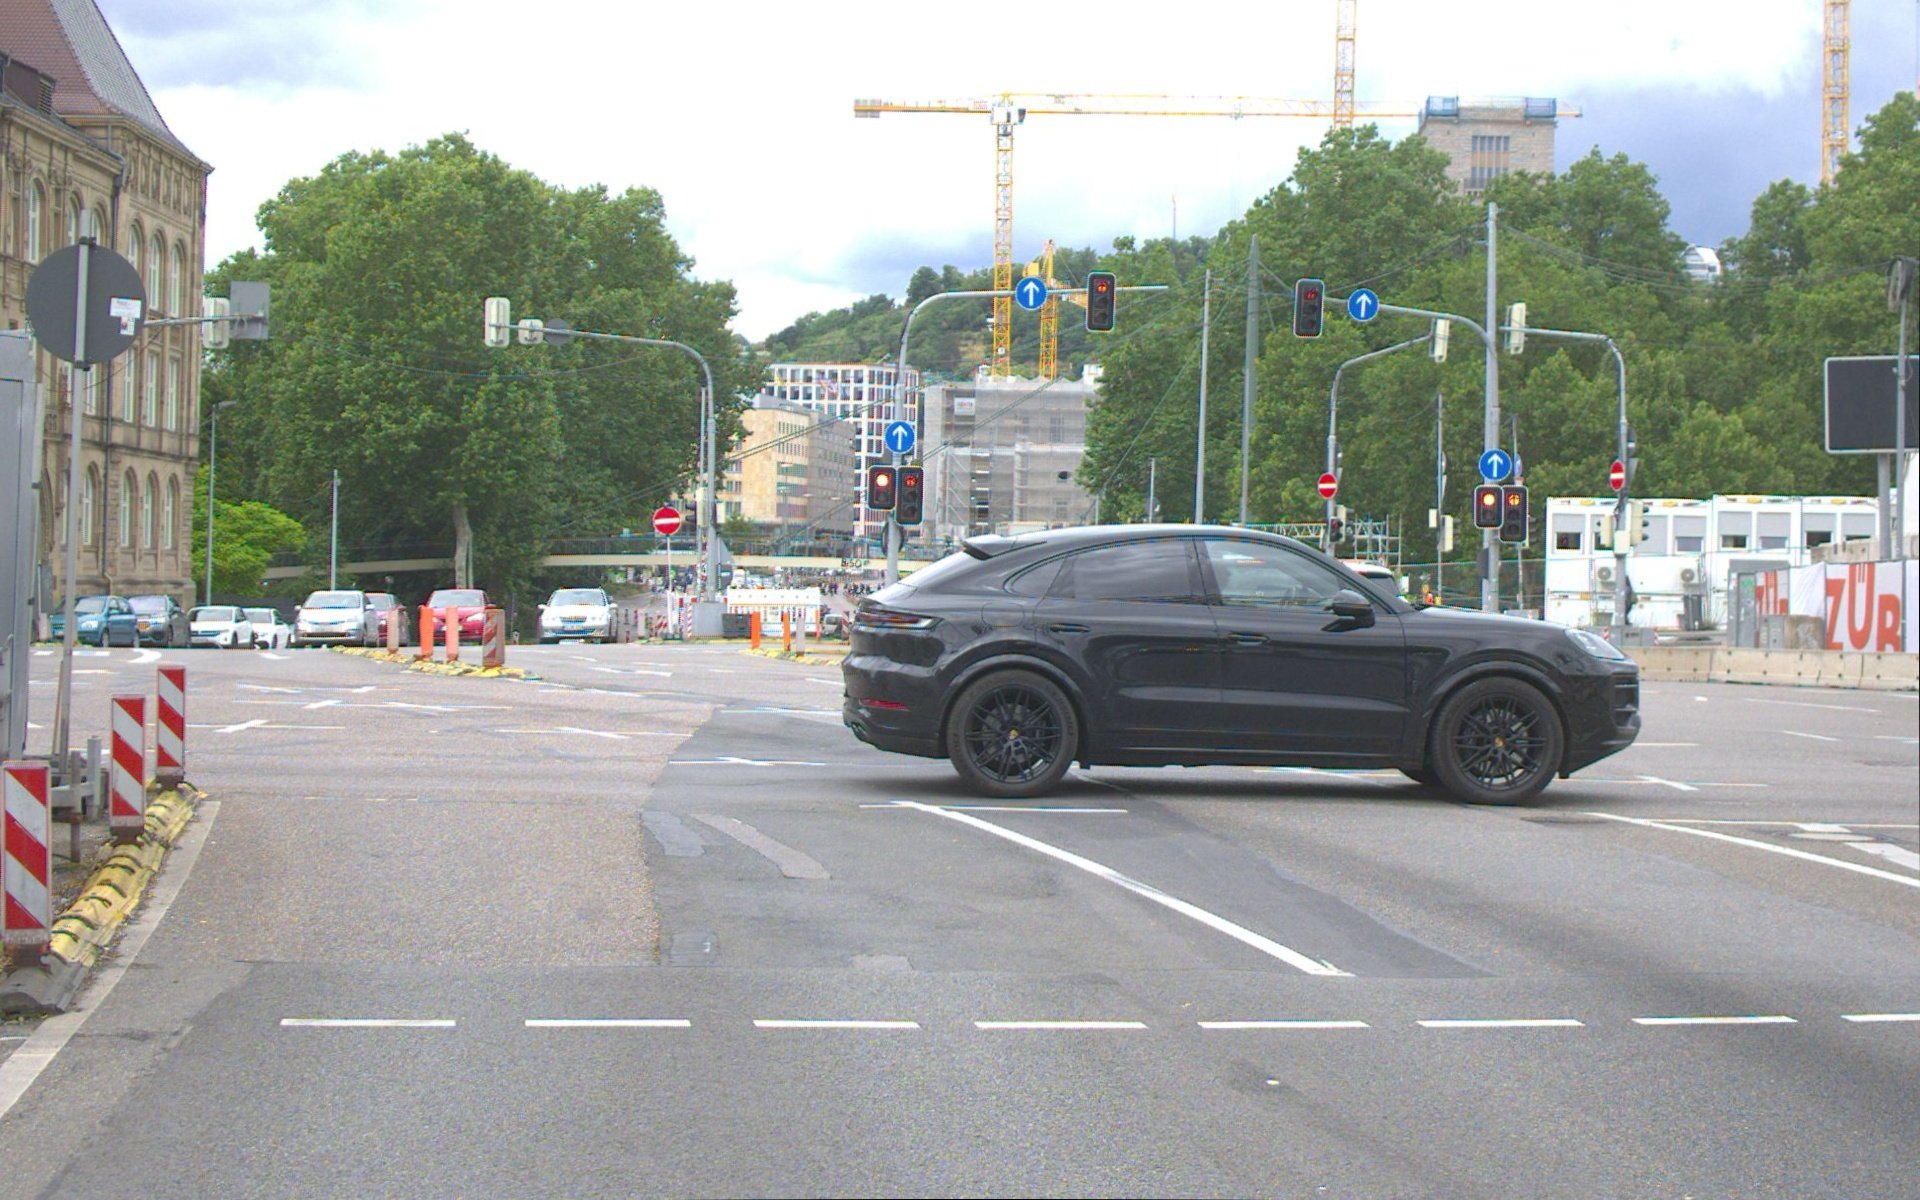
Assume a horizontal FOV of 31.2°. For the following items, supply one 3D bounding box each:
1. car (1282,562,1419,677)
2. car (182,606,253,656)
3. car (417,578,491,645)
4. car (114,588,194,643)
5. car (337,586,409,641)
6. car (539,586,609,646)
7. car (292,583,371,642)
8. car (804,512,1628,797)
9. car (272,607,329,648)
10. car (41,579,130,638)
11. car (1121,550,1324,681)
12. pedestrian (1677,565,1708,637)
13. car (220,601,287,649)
[{"bbox_3d":[5.990,0.271,53.066,1.676,1.696,3.374,1,1,-1],"label":"car"},{"bbox_3d":[-21.878,0.894,101.412,1.675,1.393,3.684,1,1,-7],"label":"car"},{"bbox_3d":[-12.444,0.257,84.739,1.675,1.575,3.684,1,1,-7],"label":"car"},{"bbox_3d":[-21.768,0.405,92.939,1.675,1.393,3.684,1,1,-7],"label":"car"},{"bbox_3d":[-15.658,0.334,91.810,1.675,1.393,3.684,1,1,-7],"label":"car"},{"bbox_3d":[-9.551,0.385,85.031,1.675,1.393,3.684,1,1,-7],"label":"car"},{"bbox_3d":[-15.639,0.295,85.648,1.675,1.393,3.684,1,1,-7],"label":"car"},{"bbox_3d":[1.478,0.318,21.226,4.807,1.619,2.021,1,0,-4],"label":"car"},{"bbox_3d":[-23.428,0.970,122.216,1.675,1.393,3.684,1,1,-7],"label":"car"},{"bbox_3d":[-21.988,0.199,86.507,1.675,1.393,3.684,1,1,-7],"label":"car"},{"bbox_3d":[3.651,0.188,48.564,1.831,1.740,4.257,1,1,-10],"label":"car"},{"bbox_3d":[17.914,0.029,84.046,0.526,1.742,0.468,1,1,-24],"label":"pedestrian"},{"bbox_3d":[-22.099,0.794,107.657,1.675,1.393,3.683,0,-2,-6],"label":"car"}]
